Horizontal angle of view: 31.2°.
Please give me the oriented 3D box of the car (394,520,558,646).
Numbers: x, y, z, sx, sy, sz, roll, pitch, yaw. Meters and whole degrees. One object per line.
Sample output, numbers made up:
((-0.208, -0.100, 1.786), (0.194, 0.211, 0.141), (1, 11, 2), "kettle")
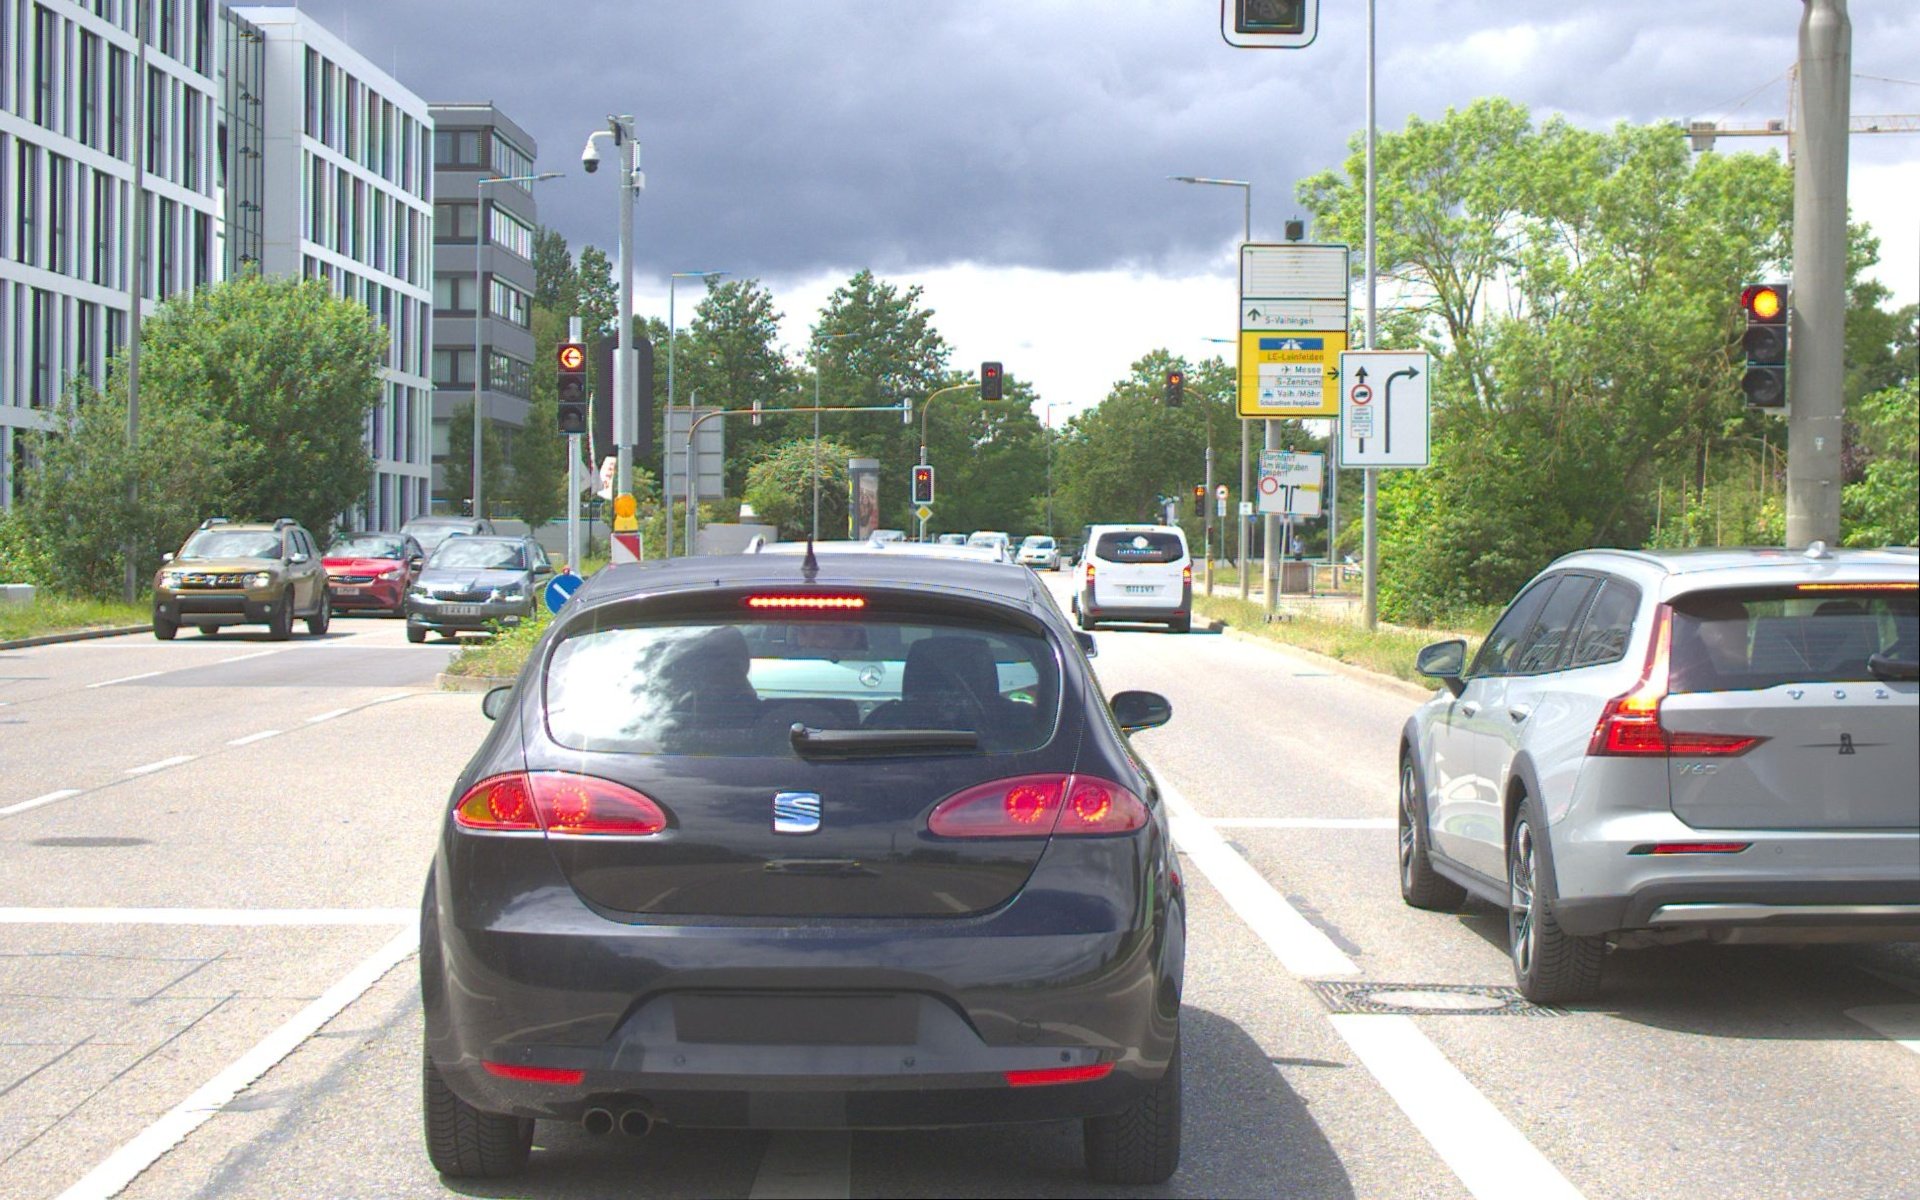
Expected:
((-6.539, -0.270, 46.790), (1.668, 1.519, 4.008), (-2, 2, -1), "car")

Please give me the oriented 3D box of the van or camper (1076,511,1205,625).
((3.118, -0.566, 60.029), (1.899, 1.919, 4.000), (0, 1, -2), "van or camper")

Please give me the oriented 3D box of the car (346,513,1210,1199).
((-0.285, 0.566, 9.080), (1.748, 1.478, 4.000), (2, 1, 3), "car")

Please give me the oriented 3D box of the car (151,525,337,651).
((-9.857, -0.189, 47.591), (1.751, 1.625, 4.000), (-1, 1, -1), "car")

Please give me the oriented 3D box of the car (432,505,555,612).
((-9.003, -0.796, 66.638), (1.993, 2.007, 4.482), (0, 1, -3), "car")

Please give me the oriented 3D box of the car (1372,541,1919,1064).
((2.727, 0.569, 12.288), (1.958, 1.520, 4.340), (-1, 0, 0), "car")

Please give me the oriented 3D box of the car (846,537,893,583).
((-3.981, -1.760, 151.886), (1.993, 2.007, 4.000), (0, 1, -1), "car")

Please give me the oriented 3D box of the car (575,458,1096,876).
((-0.494, 0.227, 15.348), (1.983, 1.585, 4.226), (1, 1, 0), "car")

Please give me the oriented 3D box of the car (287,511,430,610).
((-10.159, -0.666, 58.320), (1.776, 1.606, 4.000), (0, 1, -1), "car")
